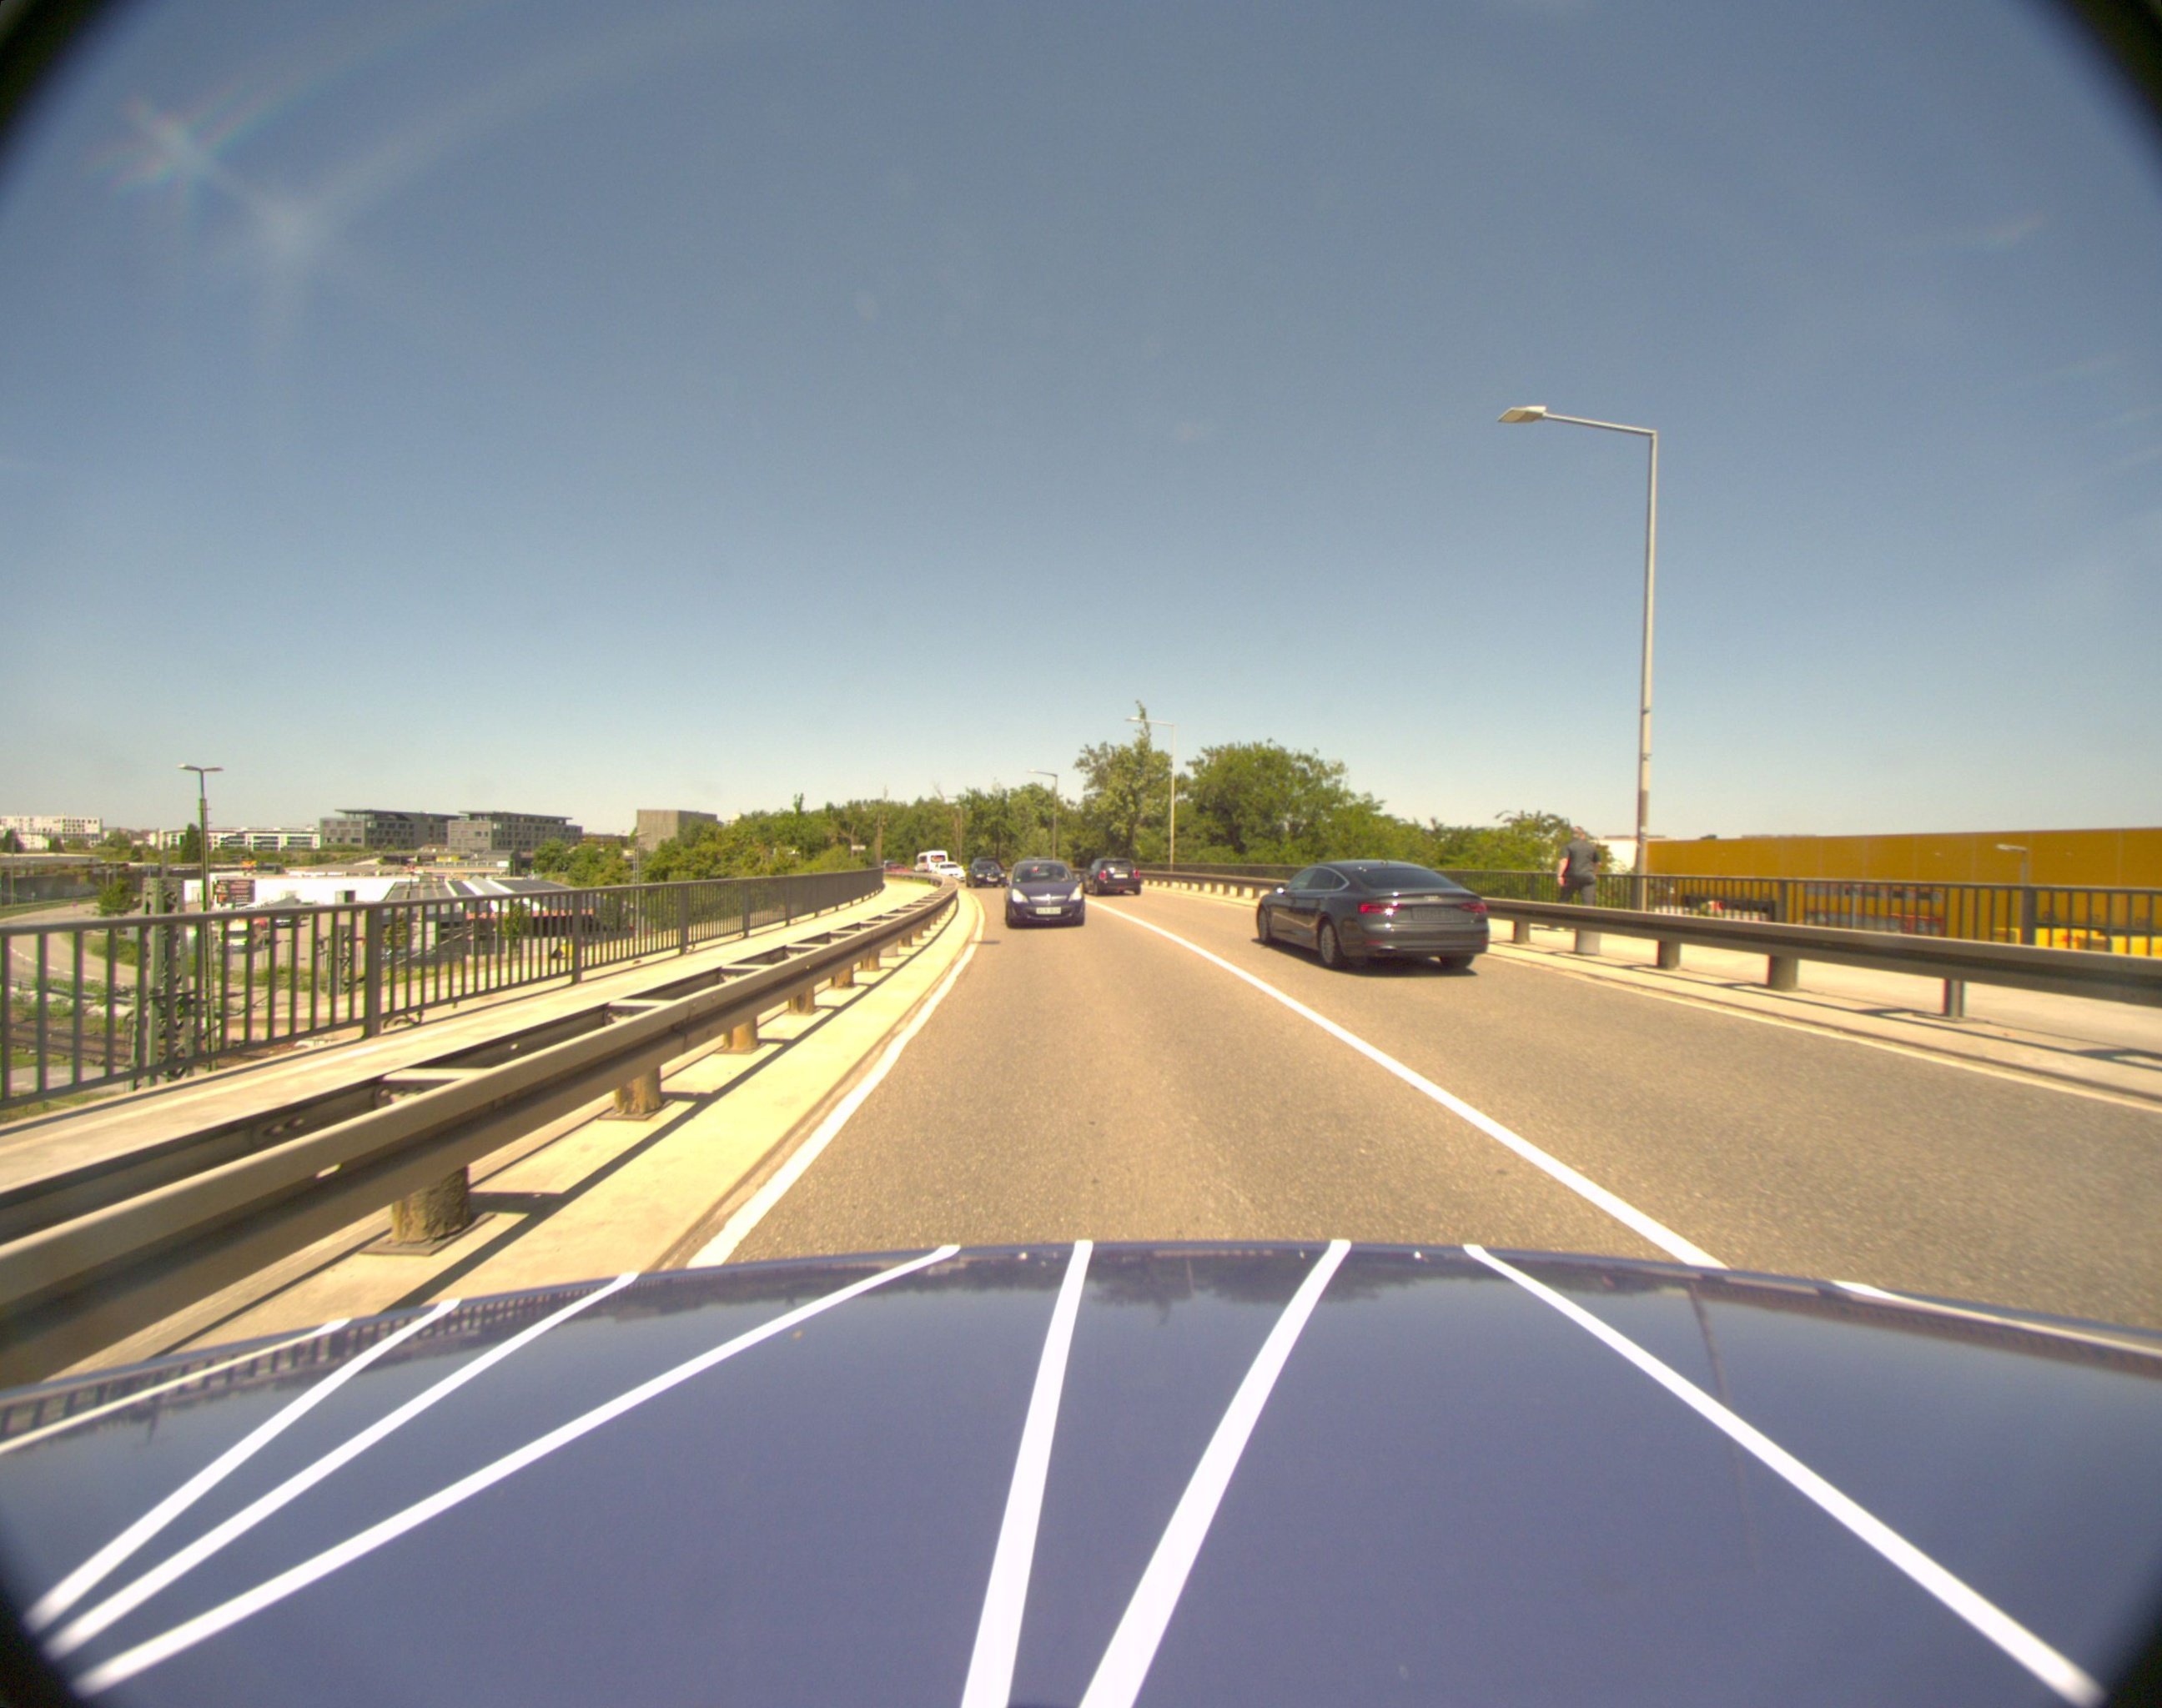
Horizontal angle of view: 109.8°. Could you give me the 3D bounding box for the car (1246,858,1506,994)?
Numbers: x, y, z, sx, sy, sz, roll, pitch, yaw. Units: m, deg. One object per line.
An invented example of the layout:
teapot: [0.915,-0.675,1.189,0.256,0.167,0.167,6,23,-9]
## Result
car: [3.784,0.812,10.742,1.794,1.407,4.573,0,1,-2]

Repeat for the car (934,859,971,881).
car: [-8.973,1.088,52.773,1.819,1.419,3.709,-2,0,-20]

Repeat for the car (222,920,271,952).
car: [-74.565,7.280,67.957,2.156,2.339,4.916,-8,3,-40]

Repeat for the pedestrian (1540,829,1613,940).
pedestrian: [8.303,0.493,12.758,0.640,1.772,0.811,-2,1,-6]

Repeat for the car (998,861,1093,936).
car: [-0.960,0.939,17.879,1.700,1.459,4.379,-2,0,-9]

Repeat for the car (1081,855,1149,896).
car: [1.246,0.775,29.274,1.795,1.411,3.769,0,1,-11]

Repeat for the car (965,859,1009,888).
car: [-5.090,1.020,40.766,1.571,1.408,4.116,-2,0,-18]

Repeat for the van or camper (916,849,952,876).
van or camper: [-14.746,0.848,75.938,2.057,2.523,5.871,-3,1,-26]

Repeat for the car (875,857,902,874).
car: [-22.630,1.376,89.276,1.765,1.844,4.264,-2,1,-33]

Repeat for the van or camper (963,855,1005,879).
van or camper: [-7.592,0.946,59.256,2.002,1.750,4.688,-1,1,-24]

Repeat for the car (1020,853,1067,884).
car: [-2.265,0.804,44.717,1.903,1.645,4.251,-1,1,-15]

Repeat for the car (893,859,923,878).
car: [-16.507,1.341,72.301,1.904,1.645,4.248,-2,1,-25]
